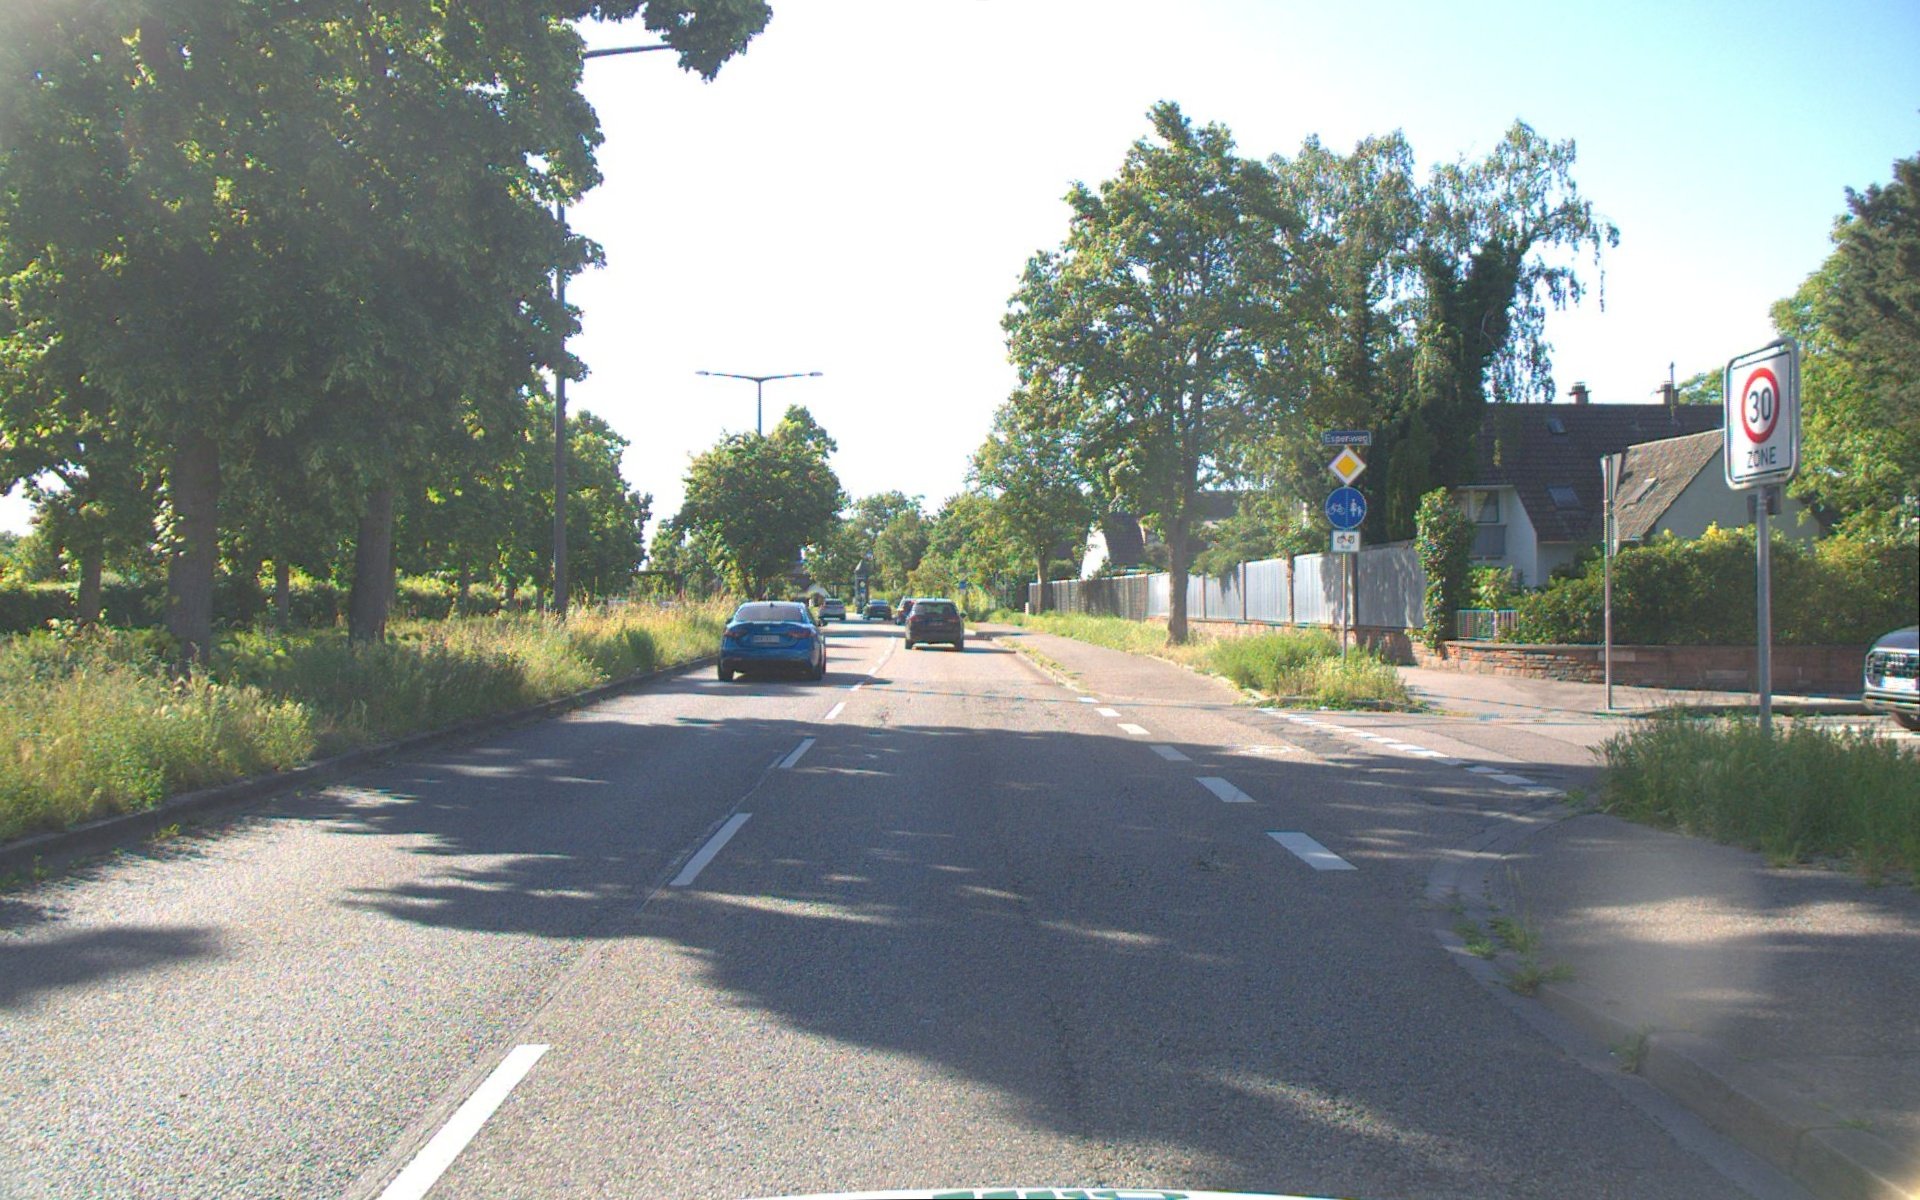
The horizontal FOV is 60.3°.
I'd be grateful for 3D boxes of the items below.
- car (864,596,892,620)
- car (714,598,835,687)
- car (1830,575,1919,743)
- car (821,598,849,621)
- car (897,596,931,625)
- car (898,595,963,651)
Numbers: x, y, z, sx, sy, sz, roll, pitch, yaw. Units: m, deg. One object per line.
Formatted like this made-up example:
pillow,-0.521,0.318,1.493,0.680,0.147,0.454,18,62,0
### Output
car,-6.004,0.562,120.715,1.878,1.707,4.007,1,-1,-6
car,-3.410,0.738,31.143,1.801,1.500,4.184,-1,0,0
car,11.859,0.565,17.196,4.652,1.685,2.068,0,0,-8
car,-8.808,0.649,116.925,1.877,1.538,4.065,0,0,-3
car,-2.665,0.598,95.755,1.877,1.607,4.180,1,-1,-3
car,-0.913,0.686,49.899,1.876,1.607,4.180,1,-1,-2
